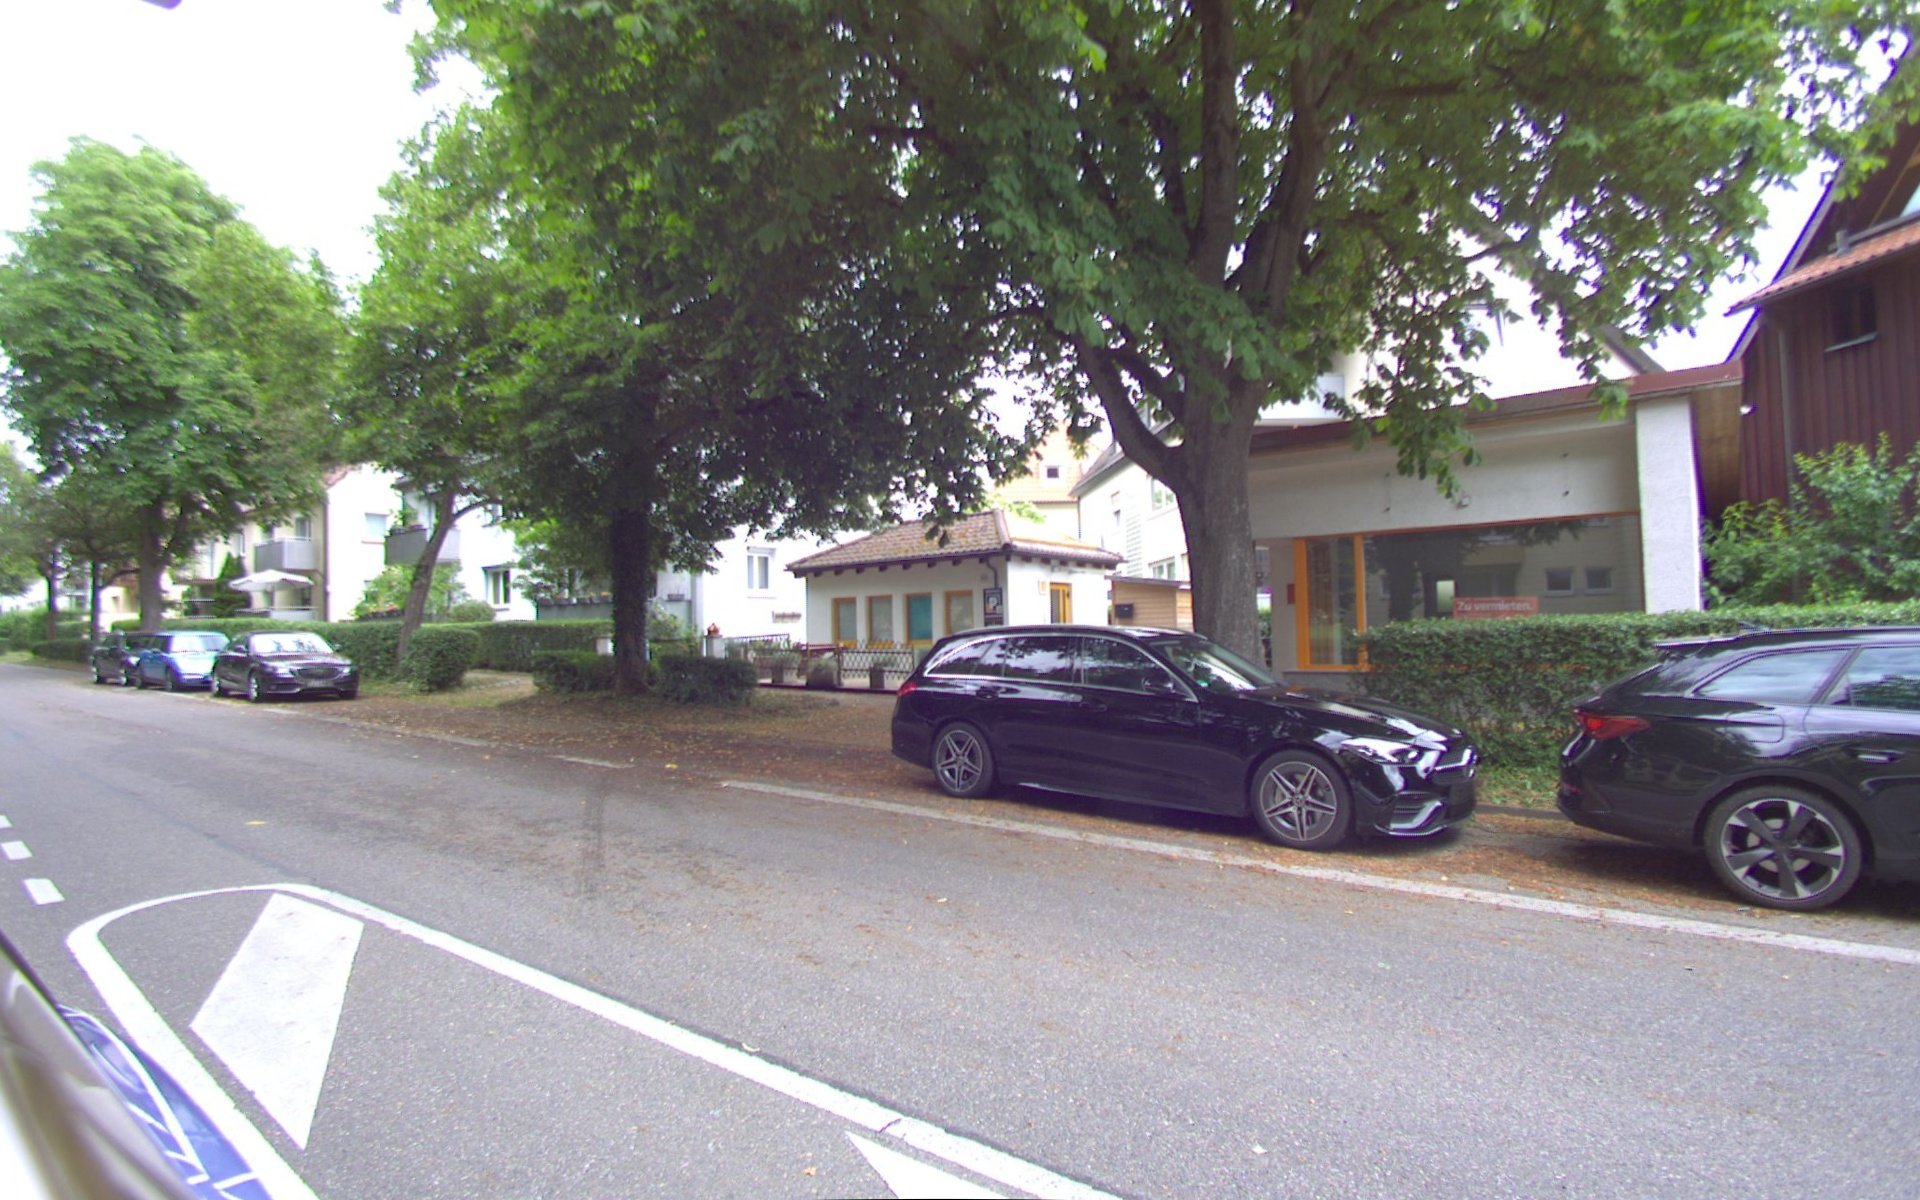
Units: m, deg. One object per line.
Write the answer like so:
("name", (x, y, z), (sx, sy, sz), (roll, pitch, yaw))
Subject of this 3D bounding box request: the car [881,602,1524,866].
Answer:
("car", (1.685, 0.857, 8.079), (4.612, 1.511, 1.973), (-2, -3, 41))

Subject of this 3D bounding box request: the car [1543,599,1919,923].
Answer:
("car", (5.550, 0.747, 4.894), (4.536, 1.497, 1.674), (-2, -3, 38))

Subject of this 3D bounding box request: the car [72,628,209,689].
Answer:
("car", (-22.485, 1.570, 27.717), (4.558, 1.545, 1.866), (-2, -3, 37))

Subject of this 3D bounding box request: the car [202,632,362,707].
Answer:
("car", (-14.099, 1.379, 20.963), (4.169, 1.414, 1.713), (-2, -3, 41))

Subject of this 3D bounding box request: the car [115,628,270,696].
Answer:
("car", (-18.795, 1.468, 24.727), (4.558, 1.512, 1.866), (-2, -3, 37))
